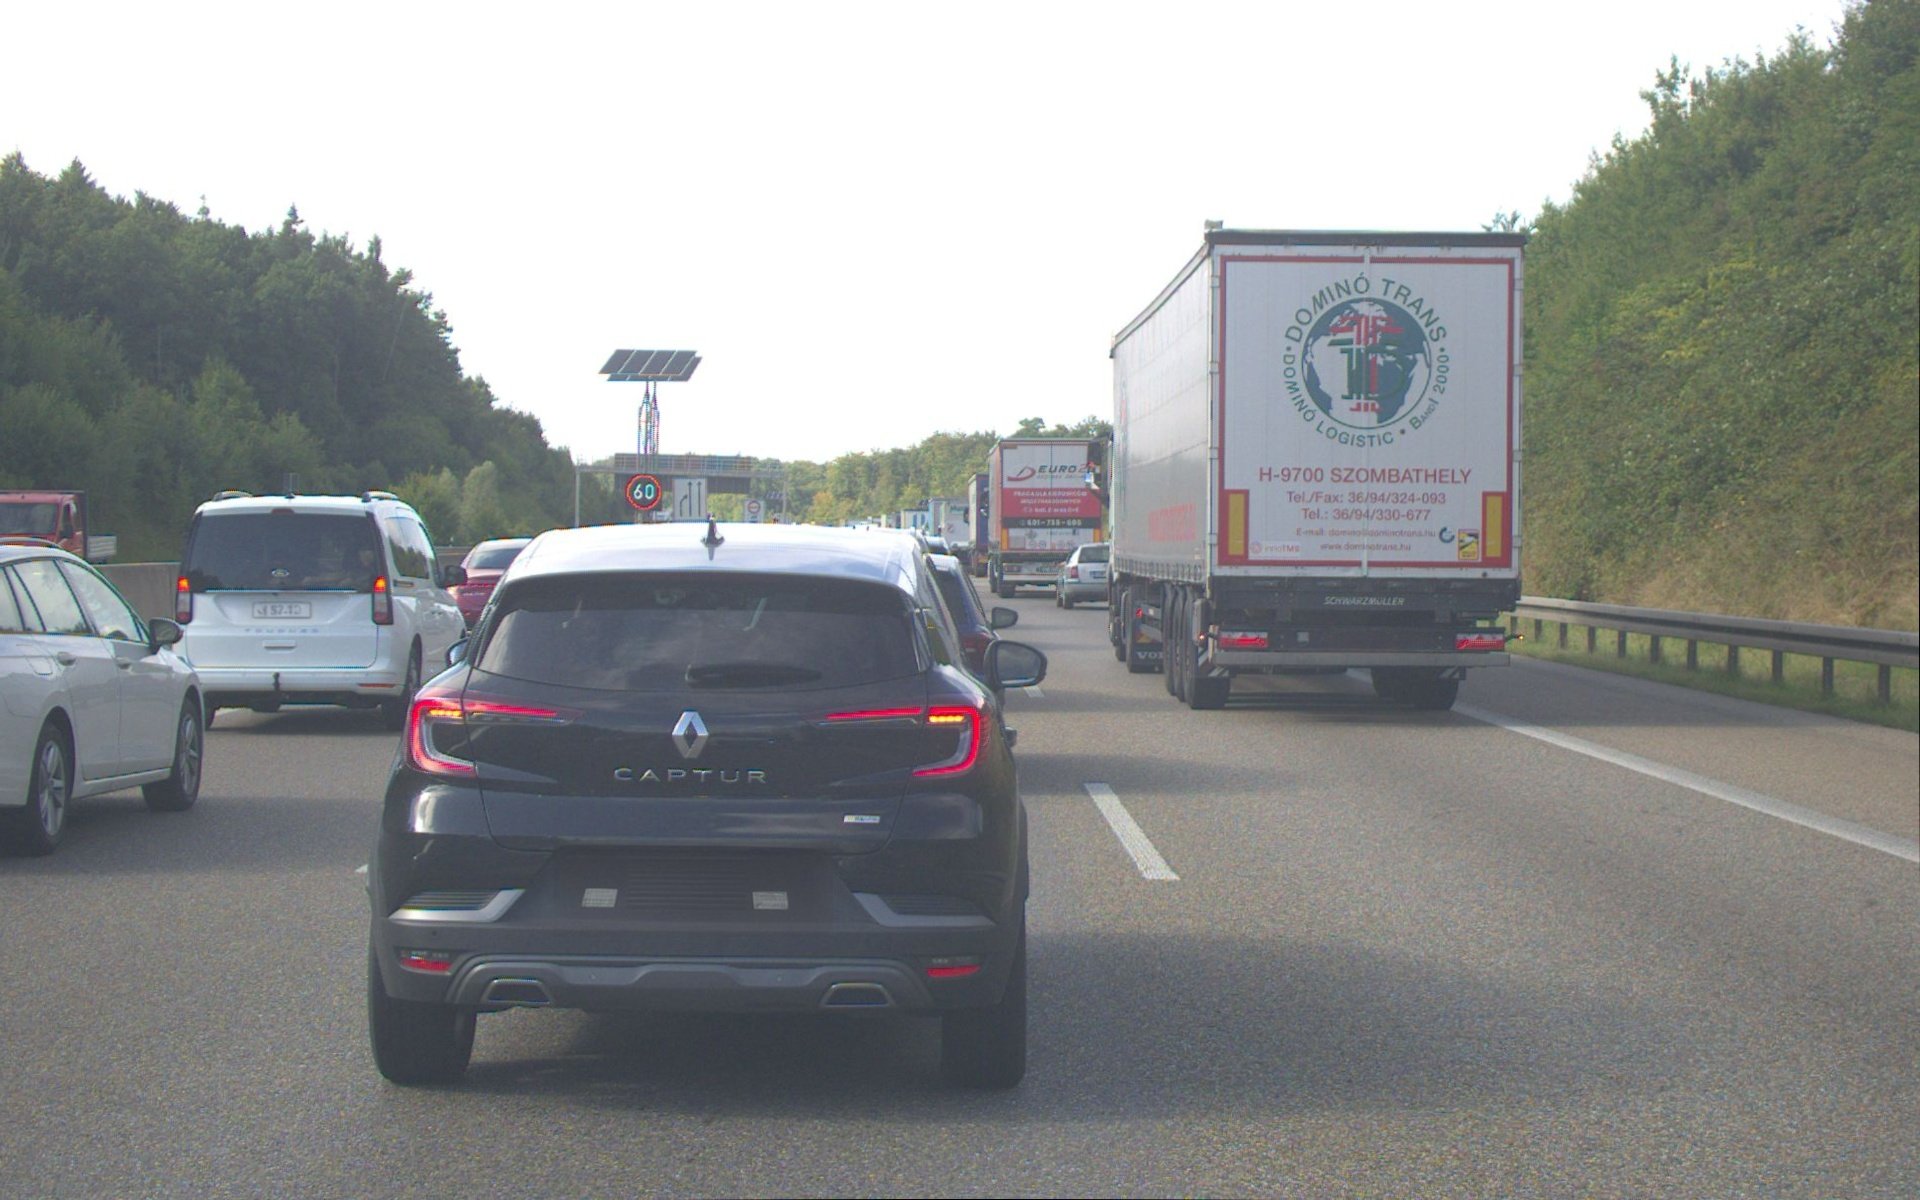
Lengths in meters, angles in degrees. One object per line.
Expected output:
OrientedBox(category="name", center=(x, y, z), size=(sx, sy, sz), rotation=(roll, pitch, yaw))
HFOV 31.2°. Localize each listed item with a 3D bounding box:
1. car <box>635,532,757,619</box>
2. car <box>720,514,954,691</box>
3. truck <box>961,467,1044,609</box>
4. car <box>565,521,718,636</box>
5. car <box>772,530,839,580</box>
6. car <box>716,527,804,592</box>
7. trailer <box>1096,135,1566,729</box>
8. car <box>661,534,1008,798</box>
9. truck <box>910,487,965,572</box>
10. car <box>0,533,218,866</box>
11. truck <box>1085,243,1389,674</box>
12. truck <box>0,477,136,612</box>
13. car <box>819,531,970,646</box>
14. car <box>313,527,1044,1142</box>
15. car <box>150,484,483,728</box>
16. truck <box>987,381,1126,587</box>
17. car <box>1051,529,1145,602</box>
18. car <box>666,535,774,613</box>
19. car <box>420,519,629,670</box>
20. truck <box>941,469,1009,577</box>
OrientedBox(category="car", center=(-5.054, -0.483, 66.251), size=(1.993, 1.607, 4.000), rotation=(1, 1, 0))
OrientedBox(category="car", center=(-1.072, 0.000, 31.941), size=(1.993, 1.509, 4.000), rotation=(1, 1, 0))
OrientedBox(category="truck", center=(1.730, -2.480, 140.373), size=(3.166, 5.486, 12.737), rotation=(1, 1, 1))
OrientedBox(category="car", center=(-4.941, -0.345, 53.857), size=(1.993, 1.716, 4.000), rotation=(1, 1, 0))
OrientedBox(category="car", center=(-5.080, -1.489, 113.256), size=(1.993, 1.607, 4.000), rotation=(1, 1, 0))
OrientedBox(category="car", center=(-5.116, -1.068, 88.363), size=(1.993, 1.607, 4.000), rotation=(1, 1, 0))
OrientedBox(category="trailer", center=(3.181, -1.455, 33.715), size=(3.002, 4.645, 13.291), rotation=(1, 1, -1))
OrientedBox(category="car", center=(-0.721, 0.361, 21.952), size=(1.993, 1.509, 4.000), rotation=(1, 1, 0))
OrientedBox(category="truck", center=(-1.331, -4.365, 215.227), size=(3.166, 5.142, 12.737), rotation=(1, 1, 1))
OrientedBox(category="car", center=(-5.061, 0.406, 16.963), size=(1.804, 1.456, 4.308), rotation=(0, 1, 1))
OrientedBox(category="truck", center=(3.117, -1.596, 40.308), size=(2.997, 4.651, 5.940), rotation=(0, 1, -1))
OrientedBox(category="truck", center=(-20.167, -1.251, 75.886), size=(2.422, 2.845, 6.431), rotation=(1, 1, 0))
OrientedBox(category="car", center=(-0.874, -0.177, 48.172), size=(1.993, 1.509, 4.000), rotation=(1, 1, 0))
OrientedBox(category="car", center=(-0.671, 0.560, 10.718), size=(1.805, 1.547, 4.000), rotation=(0, 1, 2))
OrientedBox(category="car", center=(-5.072, 0.020, 27.670), size=(1.911, 1.783, 4.418), rotation=(1, 1, -1))
OrientedBox(category="truck", center=(2.431, -2.916, 90.866), size=(3.365, 5.027, 12.737), rotation=(1, 1, 1))
OrientedBox(category="car", center=(2.995, -0.766, 75.124), size=(1.804, 1.527, 3.926), rotation=(1, 1, -1))
OrientedBox(category="car", center=(-5.118, -0.567, 73.786), size=(1.993, 1.607, 4.000), rotation=(1, 1, 0))
OrientedBox(category="car", center=(-4.973, -0.078, 39.740), size=(1.855, 1.635, 3.925), rotation=(1, 1, 1))
OrientedBox(category="truck", center=(0.866, -3.999, 181.789), size=(3.167, 5.486, 12.737), rotation=(1, 1, 2))
